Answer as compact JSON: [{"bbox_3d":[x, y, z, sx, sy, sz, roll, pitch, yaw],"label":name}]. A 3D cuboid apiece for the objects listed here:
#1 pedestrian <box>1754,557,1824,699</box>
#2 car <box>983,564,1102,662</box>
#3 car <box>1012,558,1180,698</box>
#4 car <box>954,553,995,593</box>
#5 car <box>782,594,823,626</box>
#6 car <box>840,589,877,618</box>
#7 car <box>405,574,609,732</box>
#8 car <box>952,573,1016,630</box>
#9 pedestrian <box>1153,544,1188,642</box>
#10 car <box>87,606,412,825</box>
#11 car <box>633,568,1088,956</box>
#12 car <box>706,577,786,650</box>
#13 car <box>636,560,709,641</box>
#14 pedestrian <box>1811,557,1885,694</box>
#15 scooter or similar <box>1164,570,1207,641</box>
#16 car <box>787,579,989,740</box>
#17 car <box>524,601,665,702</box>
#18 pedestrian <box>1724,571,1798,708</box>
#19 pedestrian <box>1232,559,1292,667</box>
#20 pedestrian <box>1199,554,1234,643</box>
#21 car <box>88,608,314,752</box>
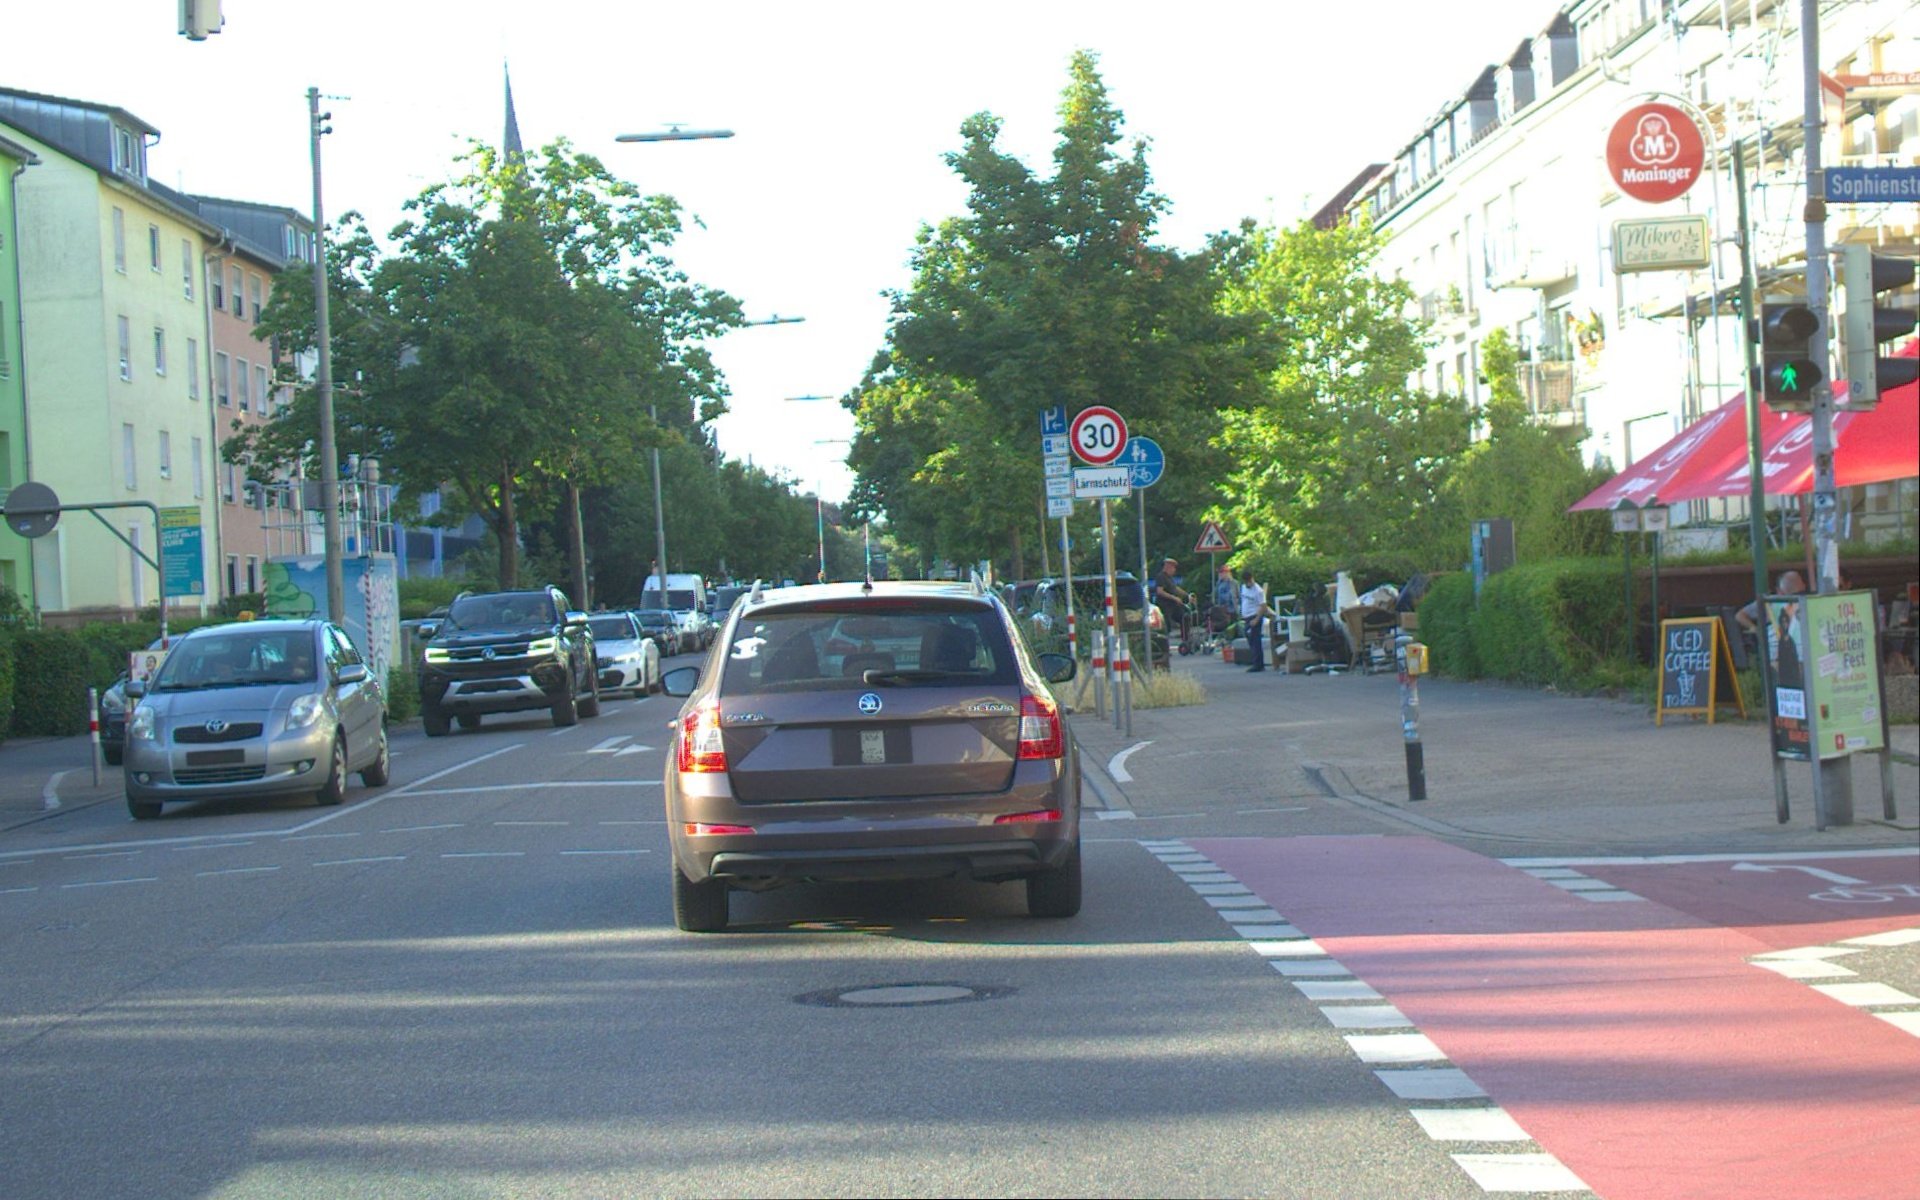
[{"bbox_3d":[6.844,0.230,28.394,0.412,1.146,0.631,-2,0,3],"label":"pedestrian"},{"bbox_3d":[1.475,0.222,62.950,1.721,1.650,4.598,-2,0,-4],"label":"car"},{"bbox_3d":[1.676,0.327,43.658,1.792,1.626,4.029,-2,0,-2],"label":"car"},{"bbox_3d":[0.638,-1.195,152.321,1.754,1.681,4.252,-1,0,1],"label":"car"},{"bbox_3d":[-7.969,0.480,174.492,1.700,1.465,4.294,-4,0,2],"label":"car"},{"bbox_3d":[-6.569,0.217,222.395,1.993,1.744,4.001,-3,0,-6],"label":"car"},{"bbox_3d":[-5.884,0.650,45.203,1.862,1.823,5.227,-4,0,0],"label":"car"},{"bbox_3d":[0.696,0.025,102.988,1.718,1.595,4.096,-3,0,-1],"label":"car"},{"bbox_3d":[4.010,-0.137,65.530,0.548,1.843,0.764,-2,0,6],"label":"pedestrian"},{"bbox_3d":[-5.798,0.895,28.515,1.804,1.552,4.000,-4,0,-1],"label":"car"},{"bbox_3d":[-0.363,0.621,15.463,1.754,1.487,4.000,-1,0,1],"label":"car"},{"bbox_3d":[-6.281,0.389,101.202,1.993,1.939,4.778,-5,0,-1],"label":"car"},{"bbox_3d":[-9.670,-0.001,116.051,1.993,2.607,7.106,-1,0,-1],"label":"car"},{"bbox_3d":[7.590,0.215,29.396,0.486,1.146,0.526,-2,0,3],"label":"pedestrian"},{"bbox_3d":[4.299,0.108,65.497,0.746,1.313,0.721,-2,0,6],"label":"scooter or similar"},{"bbox_3d":[-0.728,0.591,34.578,1.892,1.501,3.790,1,-1,-1],"label":"car"},{"bbox_3d":[-6.102,0.830,57.840,1.836,1.468,4.671,-4,0,-1],"label":"car"},{"bbox_3d":[6.834,0.336,29.341,0.493,1.146,0.526,-2,0,3],"label":"pedestrian"},{"bbox_3d":[4.461,0.199,50.811,0.555,1.562,0.748,-3,0,-19],"label":"pedestrian"},{"bbox_3d":[4.907,-0.031,65.820,0.510,1.691,0.527,-2,0,-5],"label":"pedestrian"},{"bbox_3d":[-8.723,0.889,39.786,1.653,1.474,3.943,-3,0,0],"label":"car"}]
